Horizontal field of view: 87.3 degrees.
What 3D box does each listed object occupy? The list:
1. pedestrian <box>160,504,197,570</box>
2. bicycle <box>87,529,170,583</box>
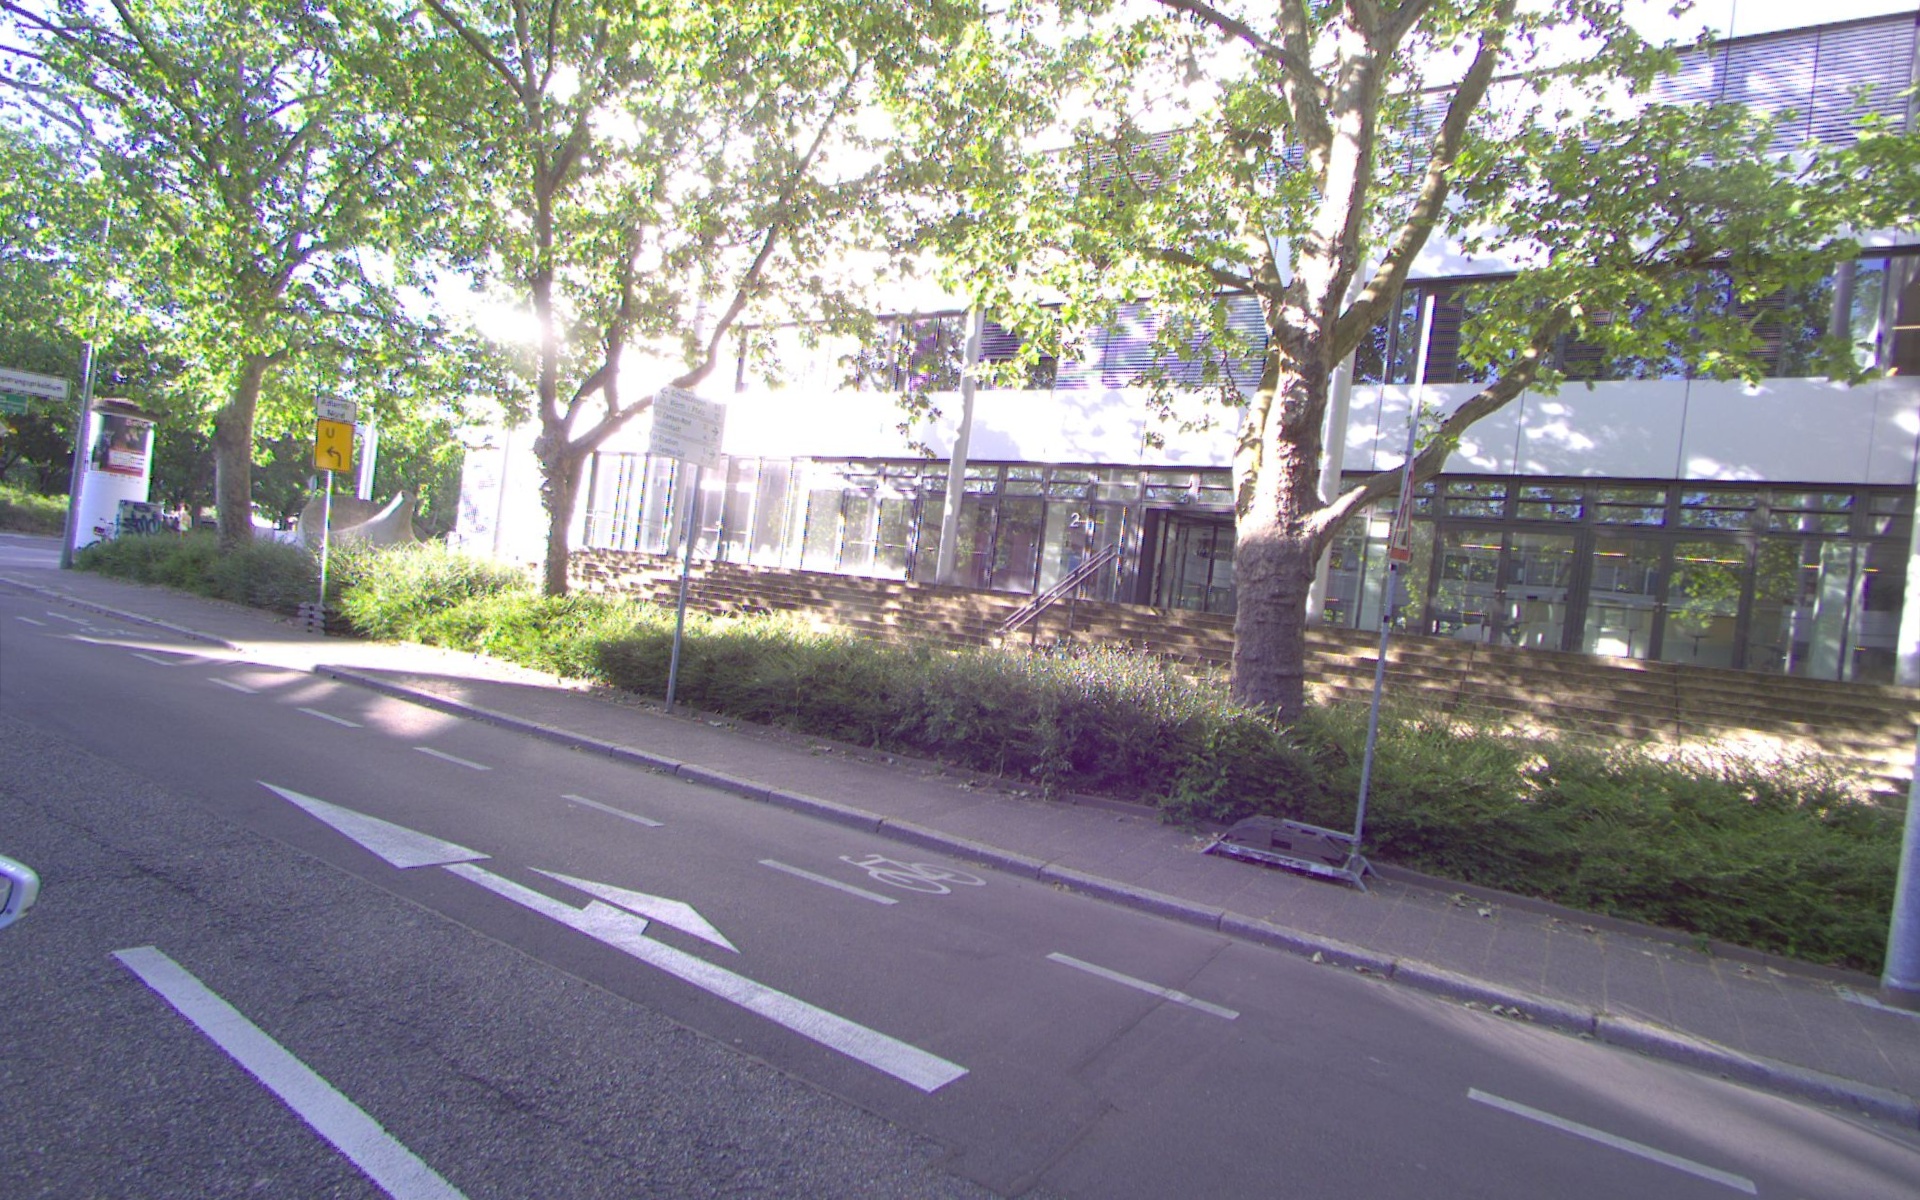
[{"bbox_3d":[-23.411,-1.890,30.143,0.584,1.871,0.552,7,0,33],"label":"pedestrian"},{"bbox_3d":[-19.133,-1.001,23.167,0.357,1.036,1.354,7,-1,33],"label":"bicycle"}]
